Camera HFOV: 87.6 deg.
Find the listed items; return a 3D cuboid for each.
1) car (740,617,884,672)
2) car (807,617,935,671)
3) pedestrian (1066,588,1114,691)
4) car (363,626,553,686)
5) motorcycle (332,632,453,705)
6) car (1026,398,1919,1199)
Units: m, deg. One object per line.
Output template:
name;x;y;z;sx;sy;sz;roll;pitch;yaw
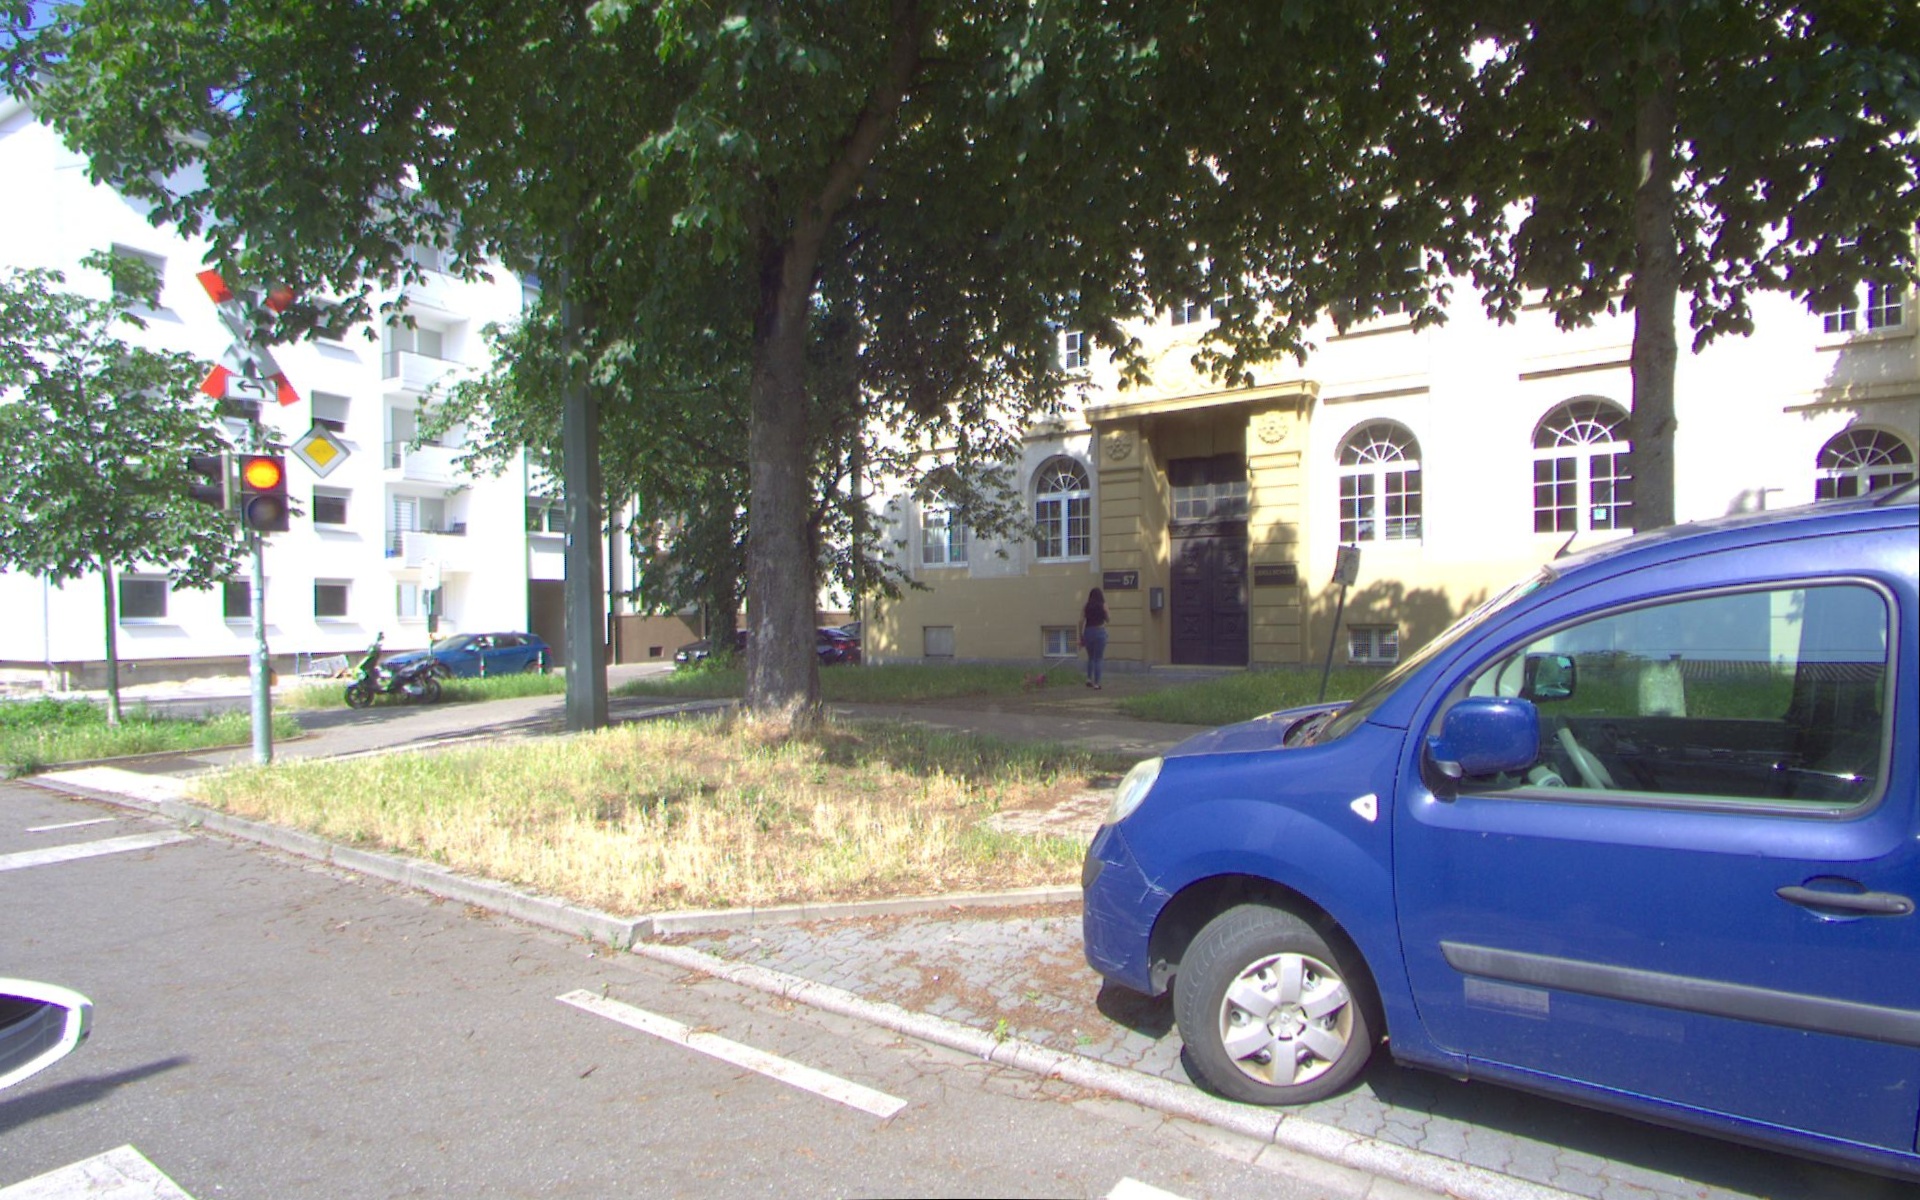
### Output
car;-4.295;1.263;28.940;3.942;1.478;1.736;-1;0;32
car;-2.820;1.331;31.334;3.955;1.560;1.797;-1;-1;42
pedestrian;2.111;0.633;16.229;0.532;1.617;0.630;-1;0;31
car;-13.060;1.445;26.283;1.756;1.430;4.157;-1;-3;34
motorcycle;-10.389;1.244;18.357;1.811;1.233;0.571;-2;4;0
car;2.418;0.539;2.839;4.128;1.921;1.816;0;1;36
